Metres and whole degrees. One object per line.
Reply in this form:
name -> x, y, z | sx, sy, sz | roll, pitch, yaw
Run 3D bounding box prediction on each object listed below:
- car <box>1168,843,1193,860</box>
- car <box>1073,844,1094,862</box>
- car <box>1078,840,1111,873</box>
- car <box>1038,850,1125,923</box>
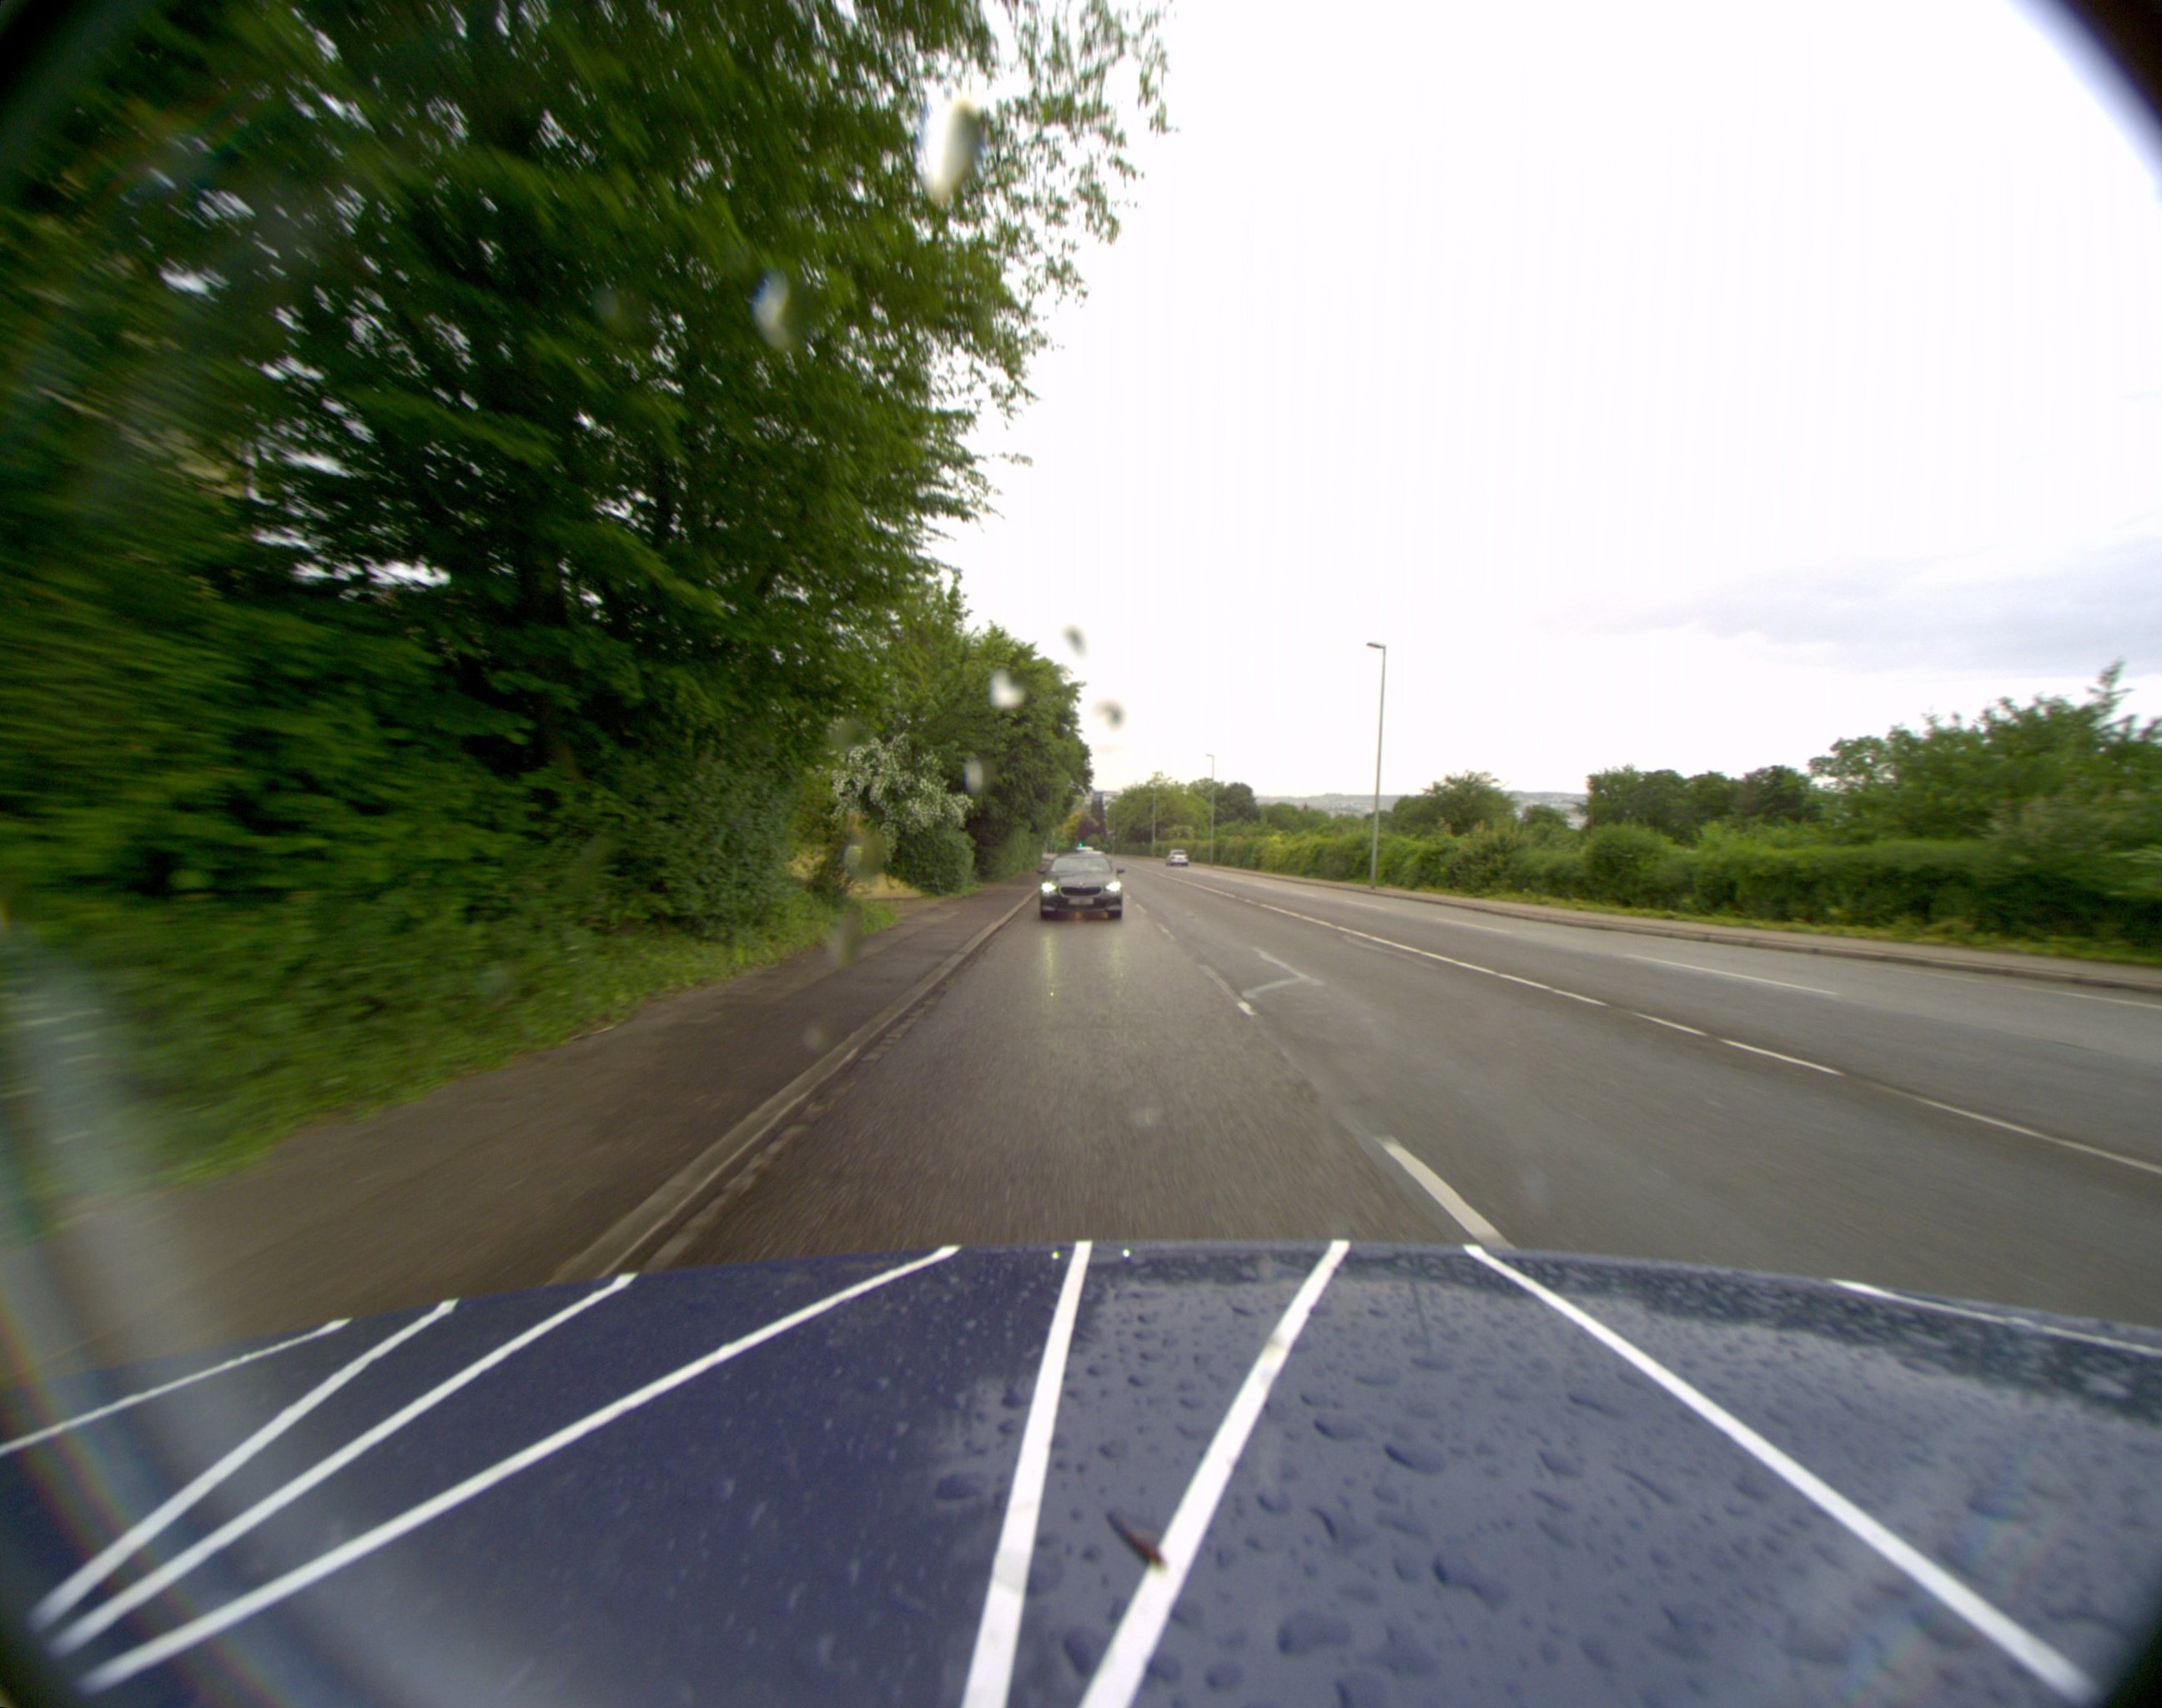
car -> 9.710, -0.284, 74.212 | 1.761, 1.559, 3.998 | 2, 1, -1
car -> 0.184, -0.107, 72.902 | 1.703, 1.671, 4.280 | 0, 1, -4
car -> 0.658, 0.074, 38.242 | 1.551, 1.505, 4.282 | 1, 2, 0
car -> -0.099, 0.694, 18.663 | 1.846, 1.371, 4.280 | -2, 2, -3
